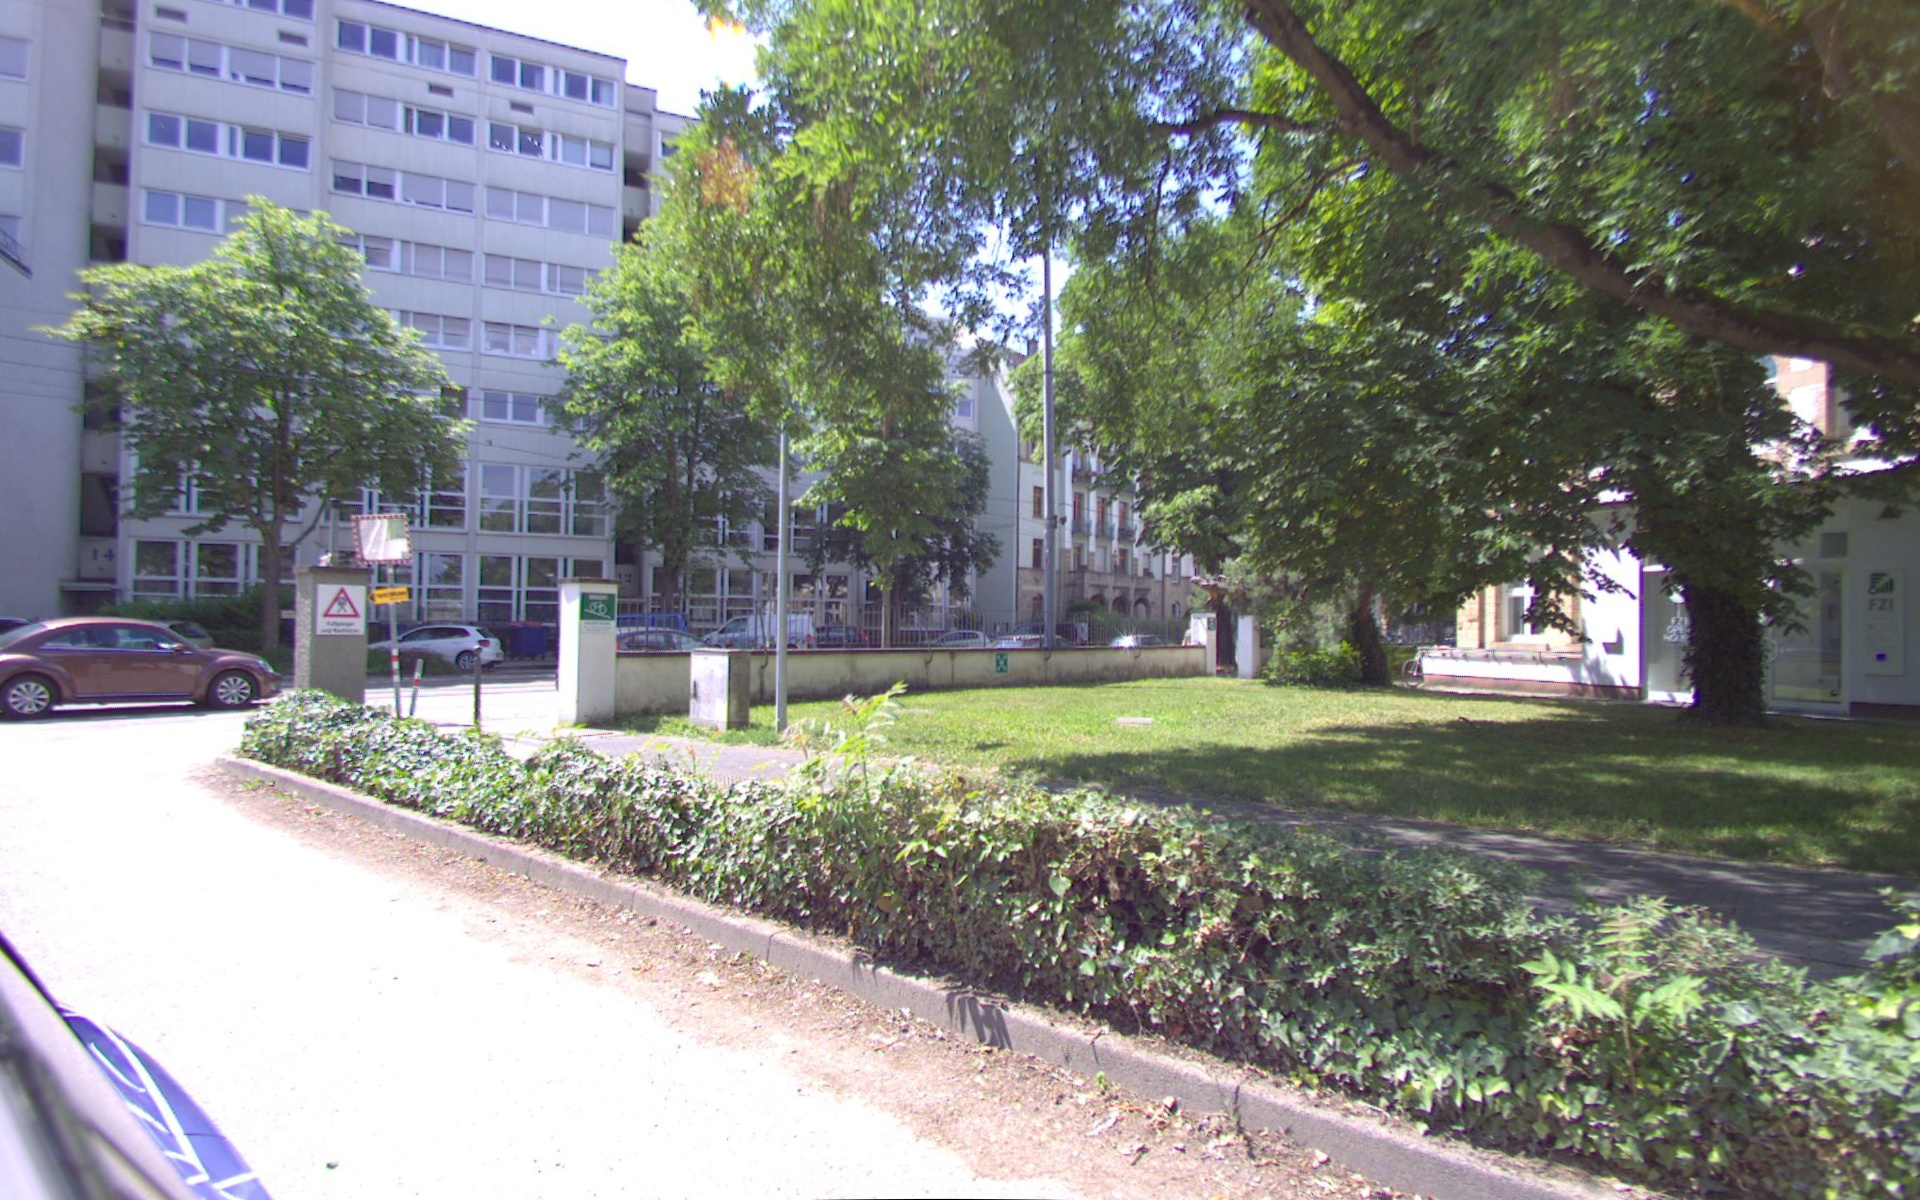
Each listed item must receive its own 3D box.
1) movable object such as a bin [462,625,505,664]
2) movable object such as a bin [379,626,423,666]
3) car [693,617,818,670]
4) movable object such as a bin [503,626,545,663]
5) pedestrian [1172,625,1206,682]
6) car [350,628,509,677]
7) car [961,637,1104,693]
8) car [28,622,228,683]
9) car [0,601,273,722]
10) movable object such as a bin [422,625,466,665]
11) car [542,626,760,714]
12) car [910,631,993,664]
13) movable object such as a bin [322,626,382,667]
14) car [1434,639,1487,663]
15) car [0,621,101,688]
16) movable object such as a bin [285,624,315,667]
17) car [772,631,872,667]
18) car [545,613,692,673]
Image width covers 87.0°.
[{"bbox_3d":[-17.650,1.648,37.496,1.164,1.409,1.039,2,-3,-42],"label":"movable object such as a bin"},{"bbox_3d":[-19.466,1.598,35.220,0.971,1.340,1.062,-2,-3,41],"label":"movable object such as a bin"},{"bbox_3d":[-8.139,1.748,40.579,4.568,2.029,1.998,0,-2,2],"label":"car"},{"bbox_3d":[-16.627,1.689,38.607,1.164,1.409,1.039,2,-3,-42],"label":"movable object such as a bin"},{"bbox_3d":[6.486,1.508,28.653,0.696,1.579,0.735,-1,-2,38],"label":"pedestrian"},{"bbox_3d":[-16.067,1.584,30.812,3.919,1.424,1.717,1,-2,-7],"label":"car"},{"bbox_3d":[2.066,1.750,28.110,1.883,1.429,4.093,-2,-3,41],"label":"car"},{"bbox_3d":[-20.904,1.324,25.554,3.485,1.473,1.757,1,-2,-7],"label":"car"},{"bbox_3d":[-13.547,0.909,16.049,1.998,1.702,3.947,1,-1,39],"label":"car"},{"bbox_3d":[-18.594,1.610,36.464,1.164,1.409,1.039,2,-3,-42],"label":"movable object such as a bin"},{"bbox_3d":[-5.616,1.266,18.737,1.585,1.468,3.680,-4,-4,36],"label":"car"},{"bbox_3d":[-0.444,2.364,50.985,3.938,1.397,1.753,3,0,-7],"label":"car"},{"bbox_3d":[-20.406,1.552,33.980,1.126,1.340,1.432,-2,-3,41],"label":"movable object such as a bin"},{"bbox_3d":[31.980,3.234,64.657,3.941,1.490,1.813,2,-3,-45],"label":"car"},{"bbox_3d":[-22.639,1.234,23.238,4.132,1.481,1.757,1,-2,-7],"label":"car"},{"bbox_3d":[-22.157,1.518,33.972,0.791,1.416,0.769,2,-3,-37],"label":"movable object such as a bin"},{"bbox_3d":[-5.865,2.071,43.208,3.950,1.497,1.668,0,-2,6],"label":"car"},{"bbox_3d":[-11.979,1.528,35.756,4.559,2.029,2.002,1,-2,-6],"label":"car"}]
